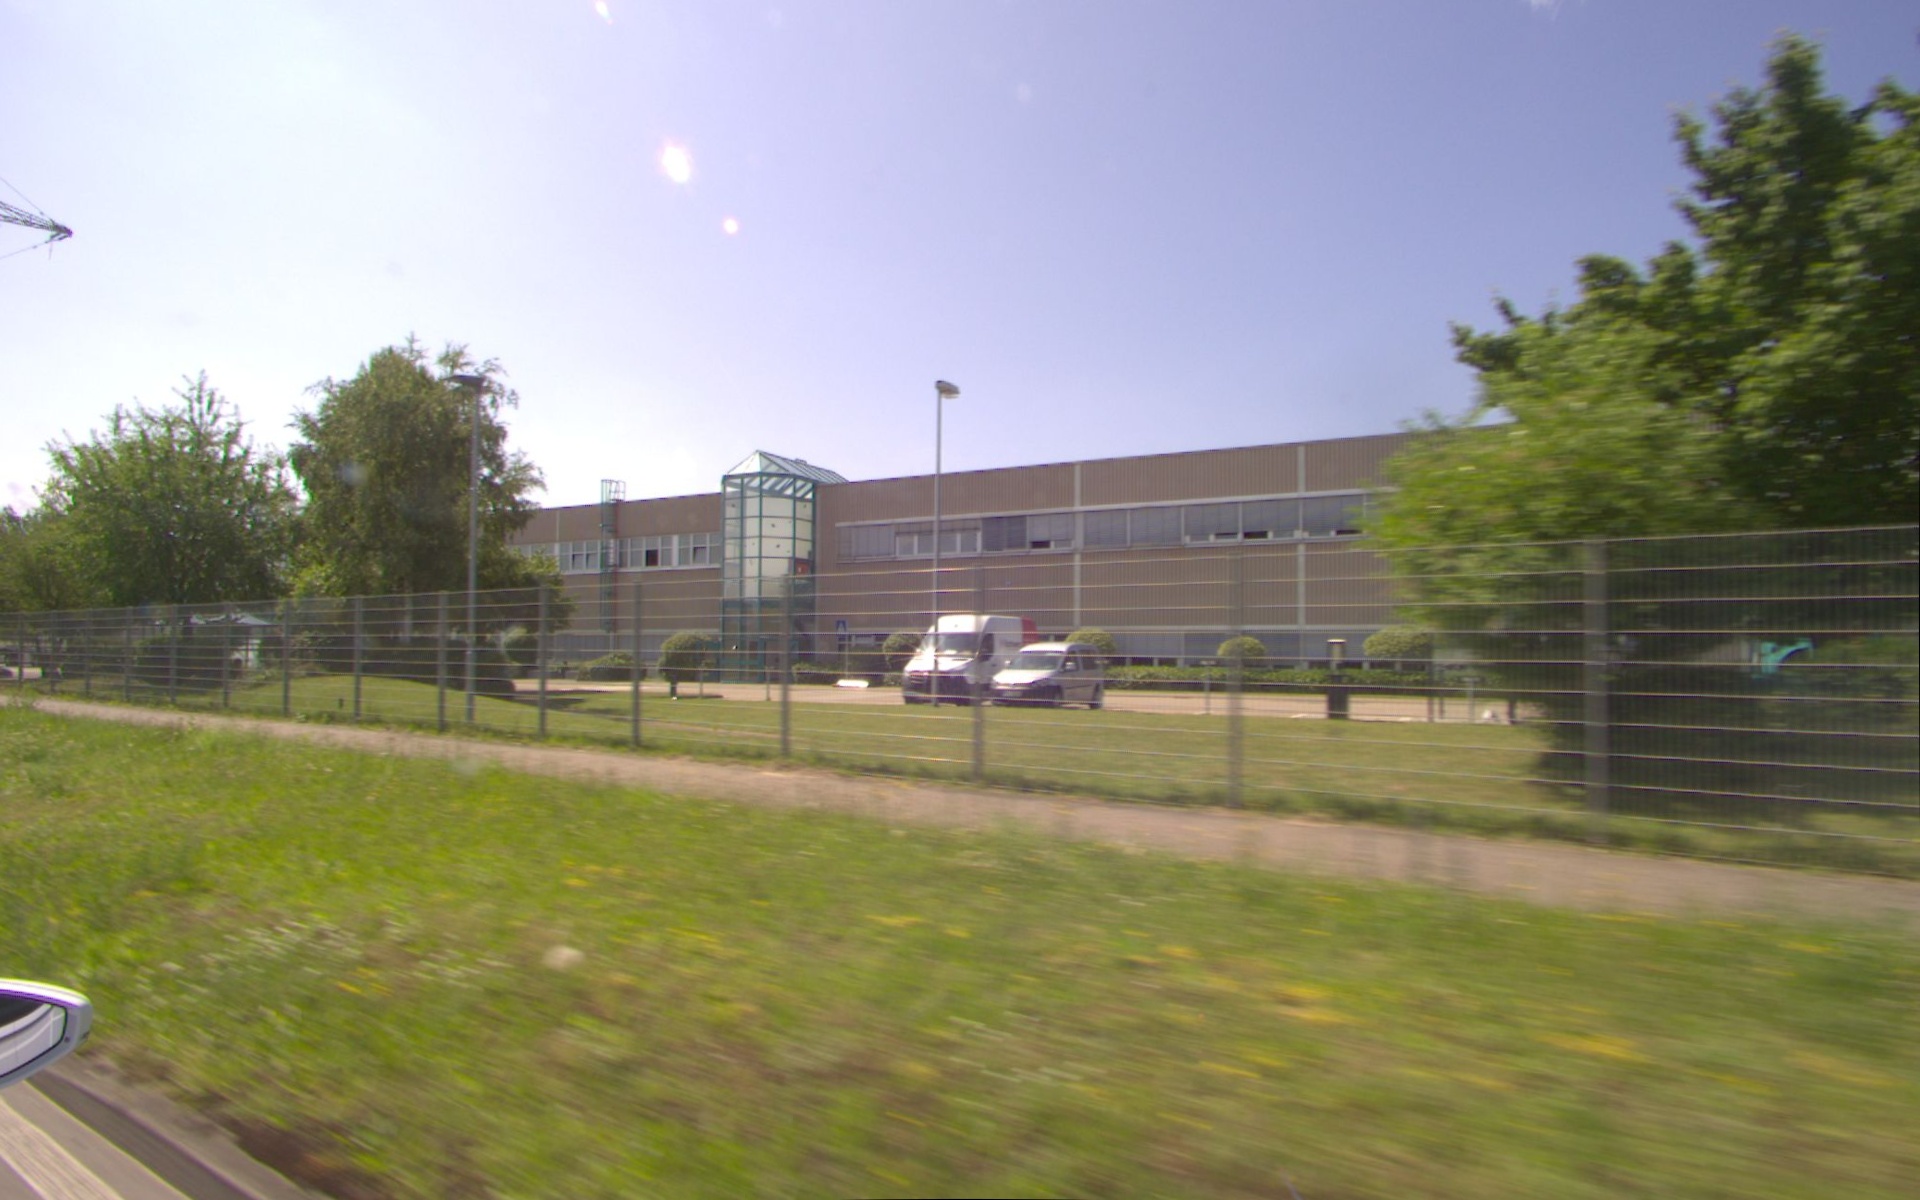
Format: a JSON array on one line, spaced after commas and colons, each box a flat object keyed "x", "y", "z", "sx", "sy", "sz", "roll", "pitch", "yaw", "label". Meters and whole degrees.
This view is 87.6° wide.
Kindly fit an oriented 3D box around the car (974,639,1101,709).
[{"x": 2.104, "y": 1.901, "z": 26.027, "sx": 1.968, "sy": 1.660, "sz": 3.989, "roll": -1, "pitch": -4, "yaw": 26, "label": "car"}]

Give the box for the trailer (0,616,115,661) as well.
[{"x": -80.819, "y": 3.395, "z": 89.525, "sx": 12.042, "sy": 3.783, "sz": 3.591, "roll": -1, "pitch": -2, "yaw": 26, "label": "trailer"}]

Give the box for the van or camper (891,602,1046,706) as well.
[{"x": 0.411, "y": 1.626, "z": 28.088, "sx": 1.968, "sy": 2.547, "sz": 5.779, "roll": -1, "pitch": -6, "yaw": 26, "label": "van or camper"}]

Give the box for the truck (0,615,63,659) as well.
[{"x": -86.743, "y": 3.398, "z": 92.499, "sx": 6.302, "sy": 3.917, "sz": 3.596, "roll": -1, "pitch": -1, "yaw": 24, "label": "truck"}]
